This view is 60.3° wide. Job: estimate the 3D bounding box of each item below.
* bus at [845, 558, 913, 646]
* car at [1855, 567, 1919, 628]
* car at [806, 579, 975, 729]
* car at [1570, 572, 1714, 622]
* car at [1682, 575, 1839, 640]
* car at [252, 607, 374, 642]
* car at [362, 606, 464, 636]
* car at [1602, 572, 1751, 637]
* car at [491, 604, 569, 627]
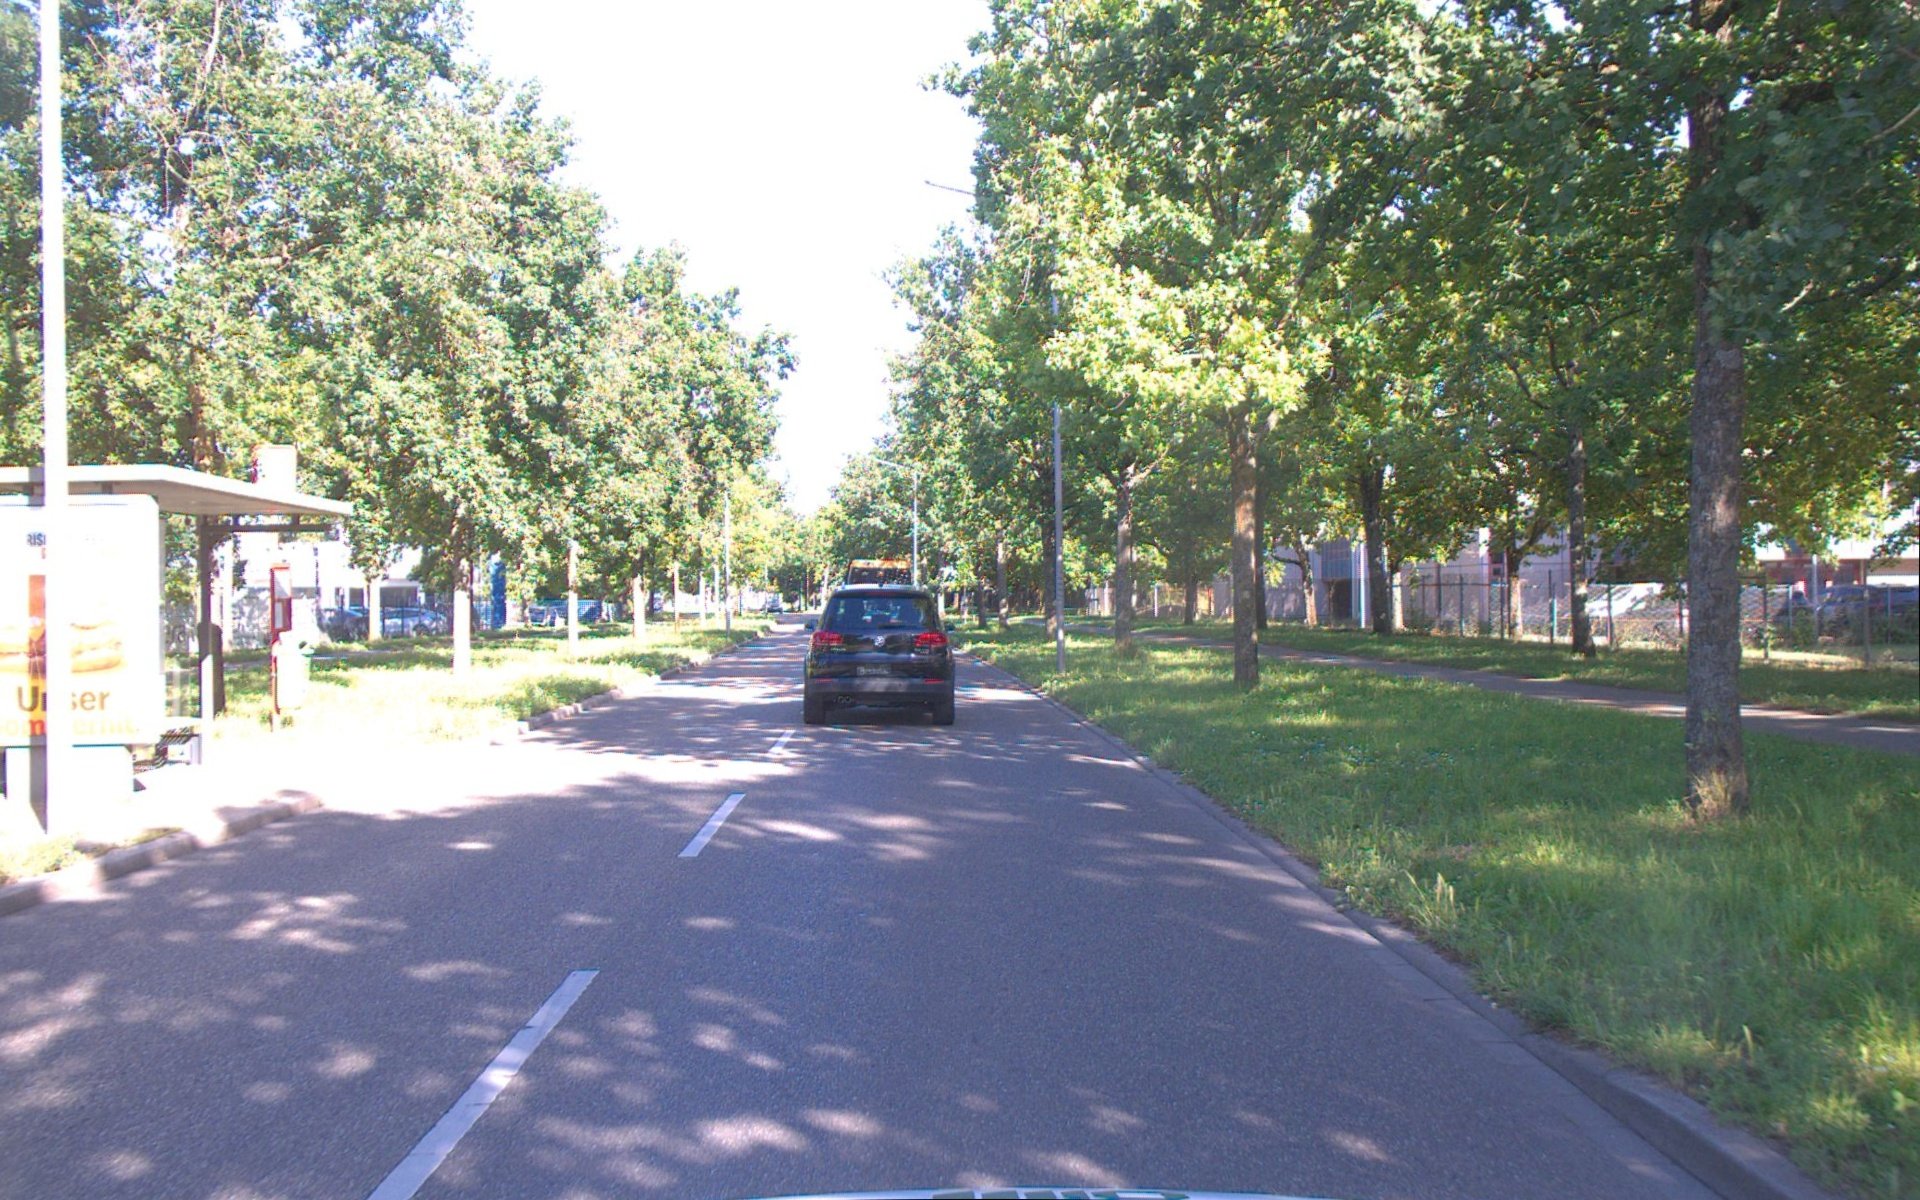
[{"bbox_3d":[-3.460,0.054,72.819,2.708,3.517,11.207,-1,0,-2],"label":"bus"},{"bbox_3d":[29.225,-0.097,49.497,2.141,1.775,4.638,-1,0,-4],"label":"car"},{"bbox_3d":[-0.883,0.601,21.025,1.897,1.685,4.425,1,0,-3],"label":"car"},{"bbox_3d":[25.733,-0.115,62.470,4.540,1.775,2.187,-1,0,-9],"label":"car"},{"bbox_3d":[23.449,0.199,48.685,2.141,1.775,4.638,-1,0,-4],"label":"car"},{"bbox_3d":[-25.808,0.968,66.075,4.115,1.310,1.940,-1,0,-4],"label":"car"},{"bbox_3d":[-25.382,0.969,76.857,4.115,1.310,1.940,-1,0,-4],"label":"car"},{"bbox_3d":[21.011,0.115,48.744,2.141,1.775,4.638,-1,0,-4],"label":"car"},{"bbox_3d":[-25.830,0.920,99.392,4.110,1.344,1.942,-1,0,3],"label":"car"}]
